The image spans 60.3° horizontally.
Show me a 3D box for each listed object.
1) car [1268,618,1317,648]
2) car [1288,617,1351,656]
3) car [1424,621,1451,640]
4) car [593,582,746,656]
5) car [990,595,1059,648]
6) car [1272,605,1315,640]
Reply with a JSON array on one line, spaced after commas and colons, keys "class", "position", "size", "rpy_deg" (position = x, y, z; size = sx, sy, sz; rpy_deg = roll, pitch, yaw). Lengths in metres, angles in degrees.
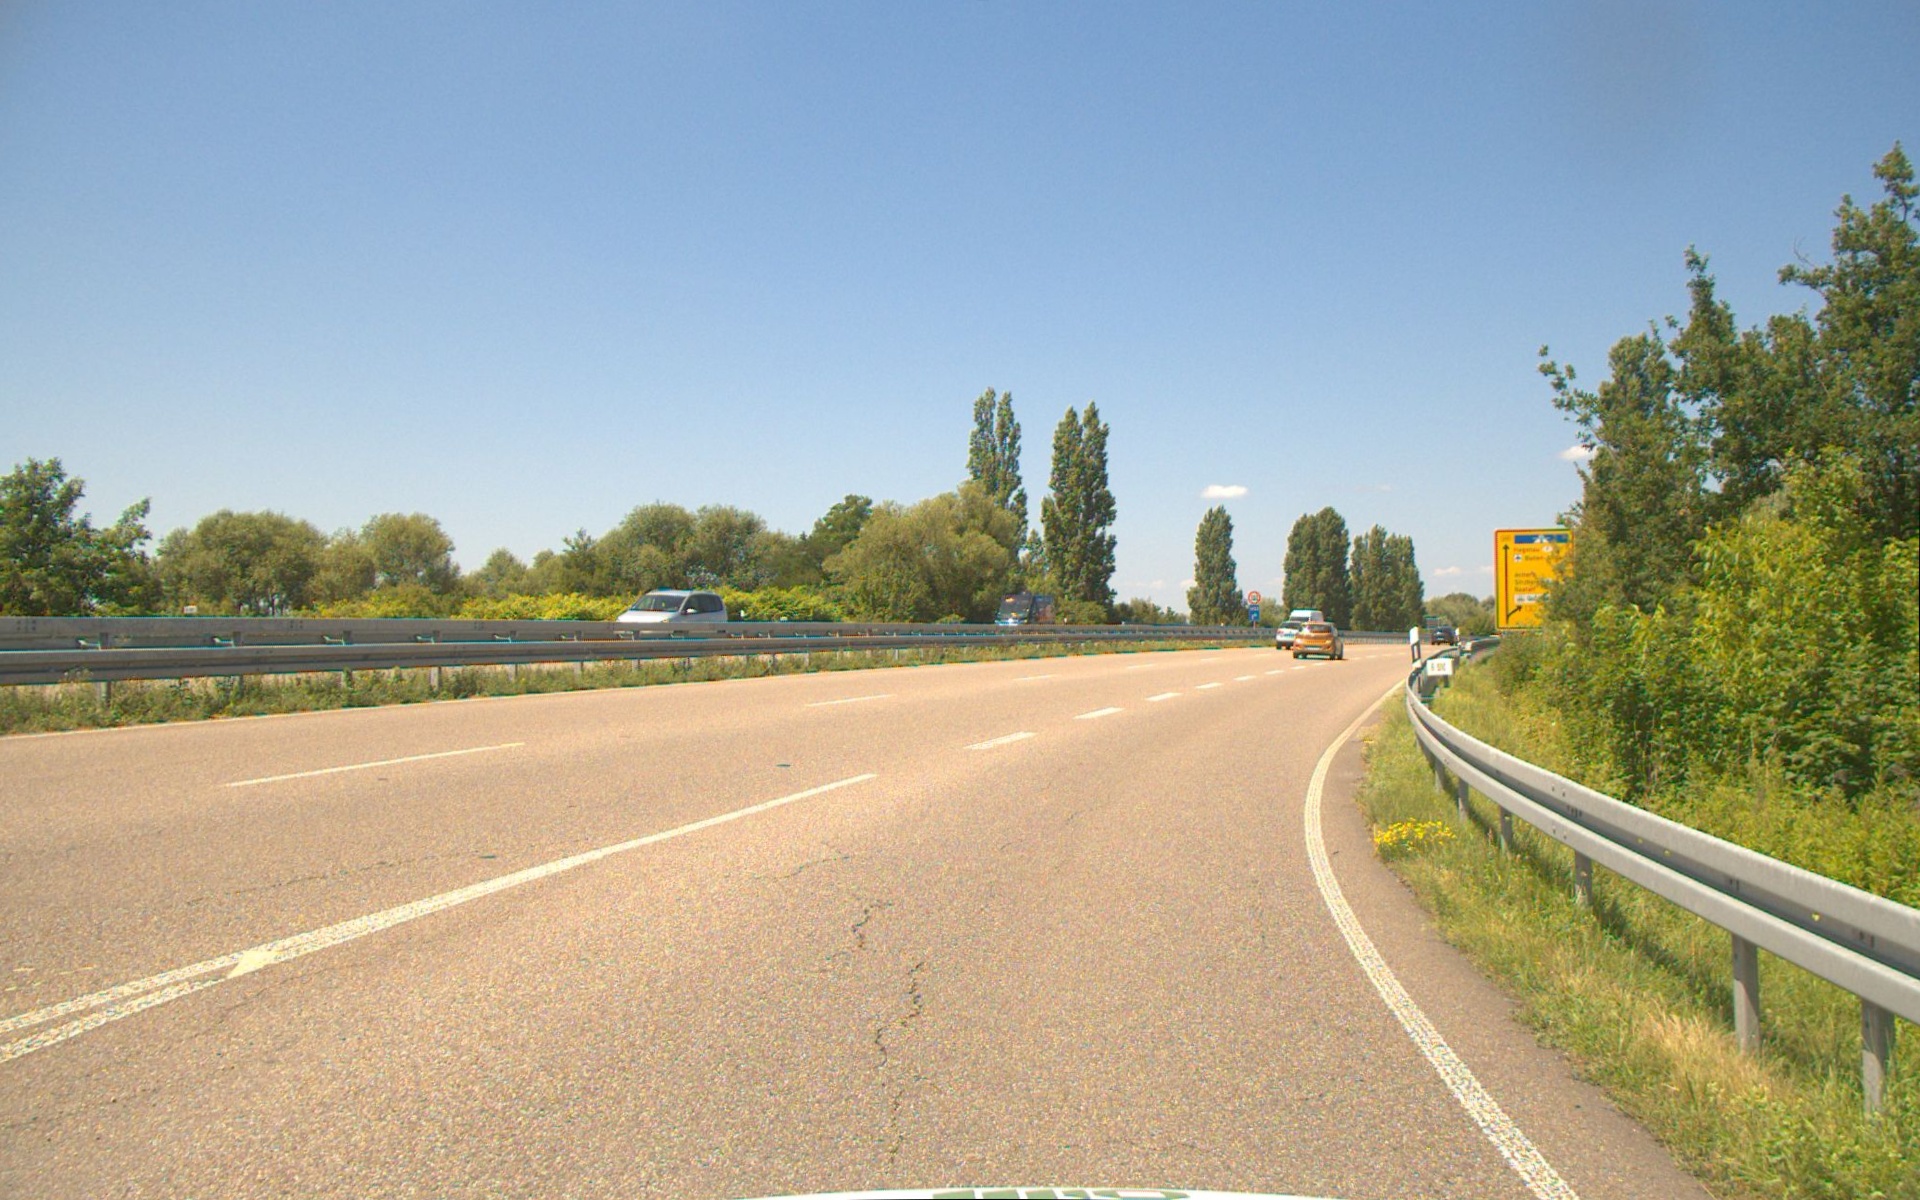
[{"class": "car", "position": [17.542, 1.723, 87.094], "size": [1.803, 1.476, 4.000], "rpy_deg": [2, 0, 21]}, {"class": "car", "position": [14.487, 1.443, 66.537], "size": [1.803, 1.489, 4.000], "rpy_deg": [2, 0, 21]}, {"class": "car", "position": [41.676, 2.648, 144.359], "size": [1.904, 1.489, 4.000], "rpy_deg": [2, 0, 21]}, {"class": "car", "position": [-7.940, 0.563, 45.766], "size": [2.157, 1.926, 4.914], "rpy_deg": [0, -2, 17]}, {"class": "car", "position": [3.505, 1.201, 88.805], "size": [2.158, 2.684, 5.627], "rpy_deg": [0, -2, 18]}, {"class": "car", "position": [28.482, 1.932, 141.105], "size": [2.232, 2.822, 7.220], "rpy_deg": [0, -2, 22]}]
